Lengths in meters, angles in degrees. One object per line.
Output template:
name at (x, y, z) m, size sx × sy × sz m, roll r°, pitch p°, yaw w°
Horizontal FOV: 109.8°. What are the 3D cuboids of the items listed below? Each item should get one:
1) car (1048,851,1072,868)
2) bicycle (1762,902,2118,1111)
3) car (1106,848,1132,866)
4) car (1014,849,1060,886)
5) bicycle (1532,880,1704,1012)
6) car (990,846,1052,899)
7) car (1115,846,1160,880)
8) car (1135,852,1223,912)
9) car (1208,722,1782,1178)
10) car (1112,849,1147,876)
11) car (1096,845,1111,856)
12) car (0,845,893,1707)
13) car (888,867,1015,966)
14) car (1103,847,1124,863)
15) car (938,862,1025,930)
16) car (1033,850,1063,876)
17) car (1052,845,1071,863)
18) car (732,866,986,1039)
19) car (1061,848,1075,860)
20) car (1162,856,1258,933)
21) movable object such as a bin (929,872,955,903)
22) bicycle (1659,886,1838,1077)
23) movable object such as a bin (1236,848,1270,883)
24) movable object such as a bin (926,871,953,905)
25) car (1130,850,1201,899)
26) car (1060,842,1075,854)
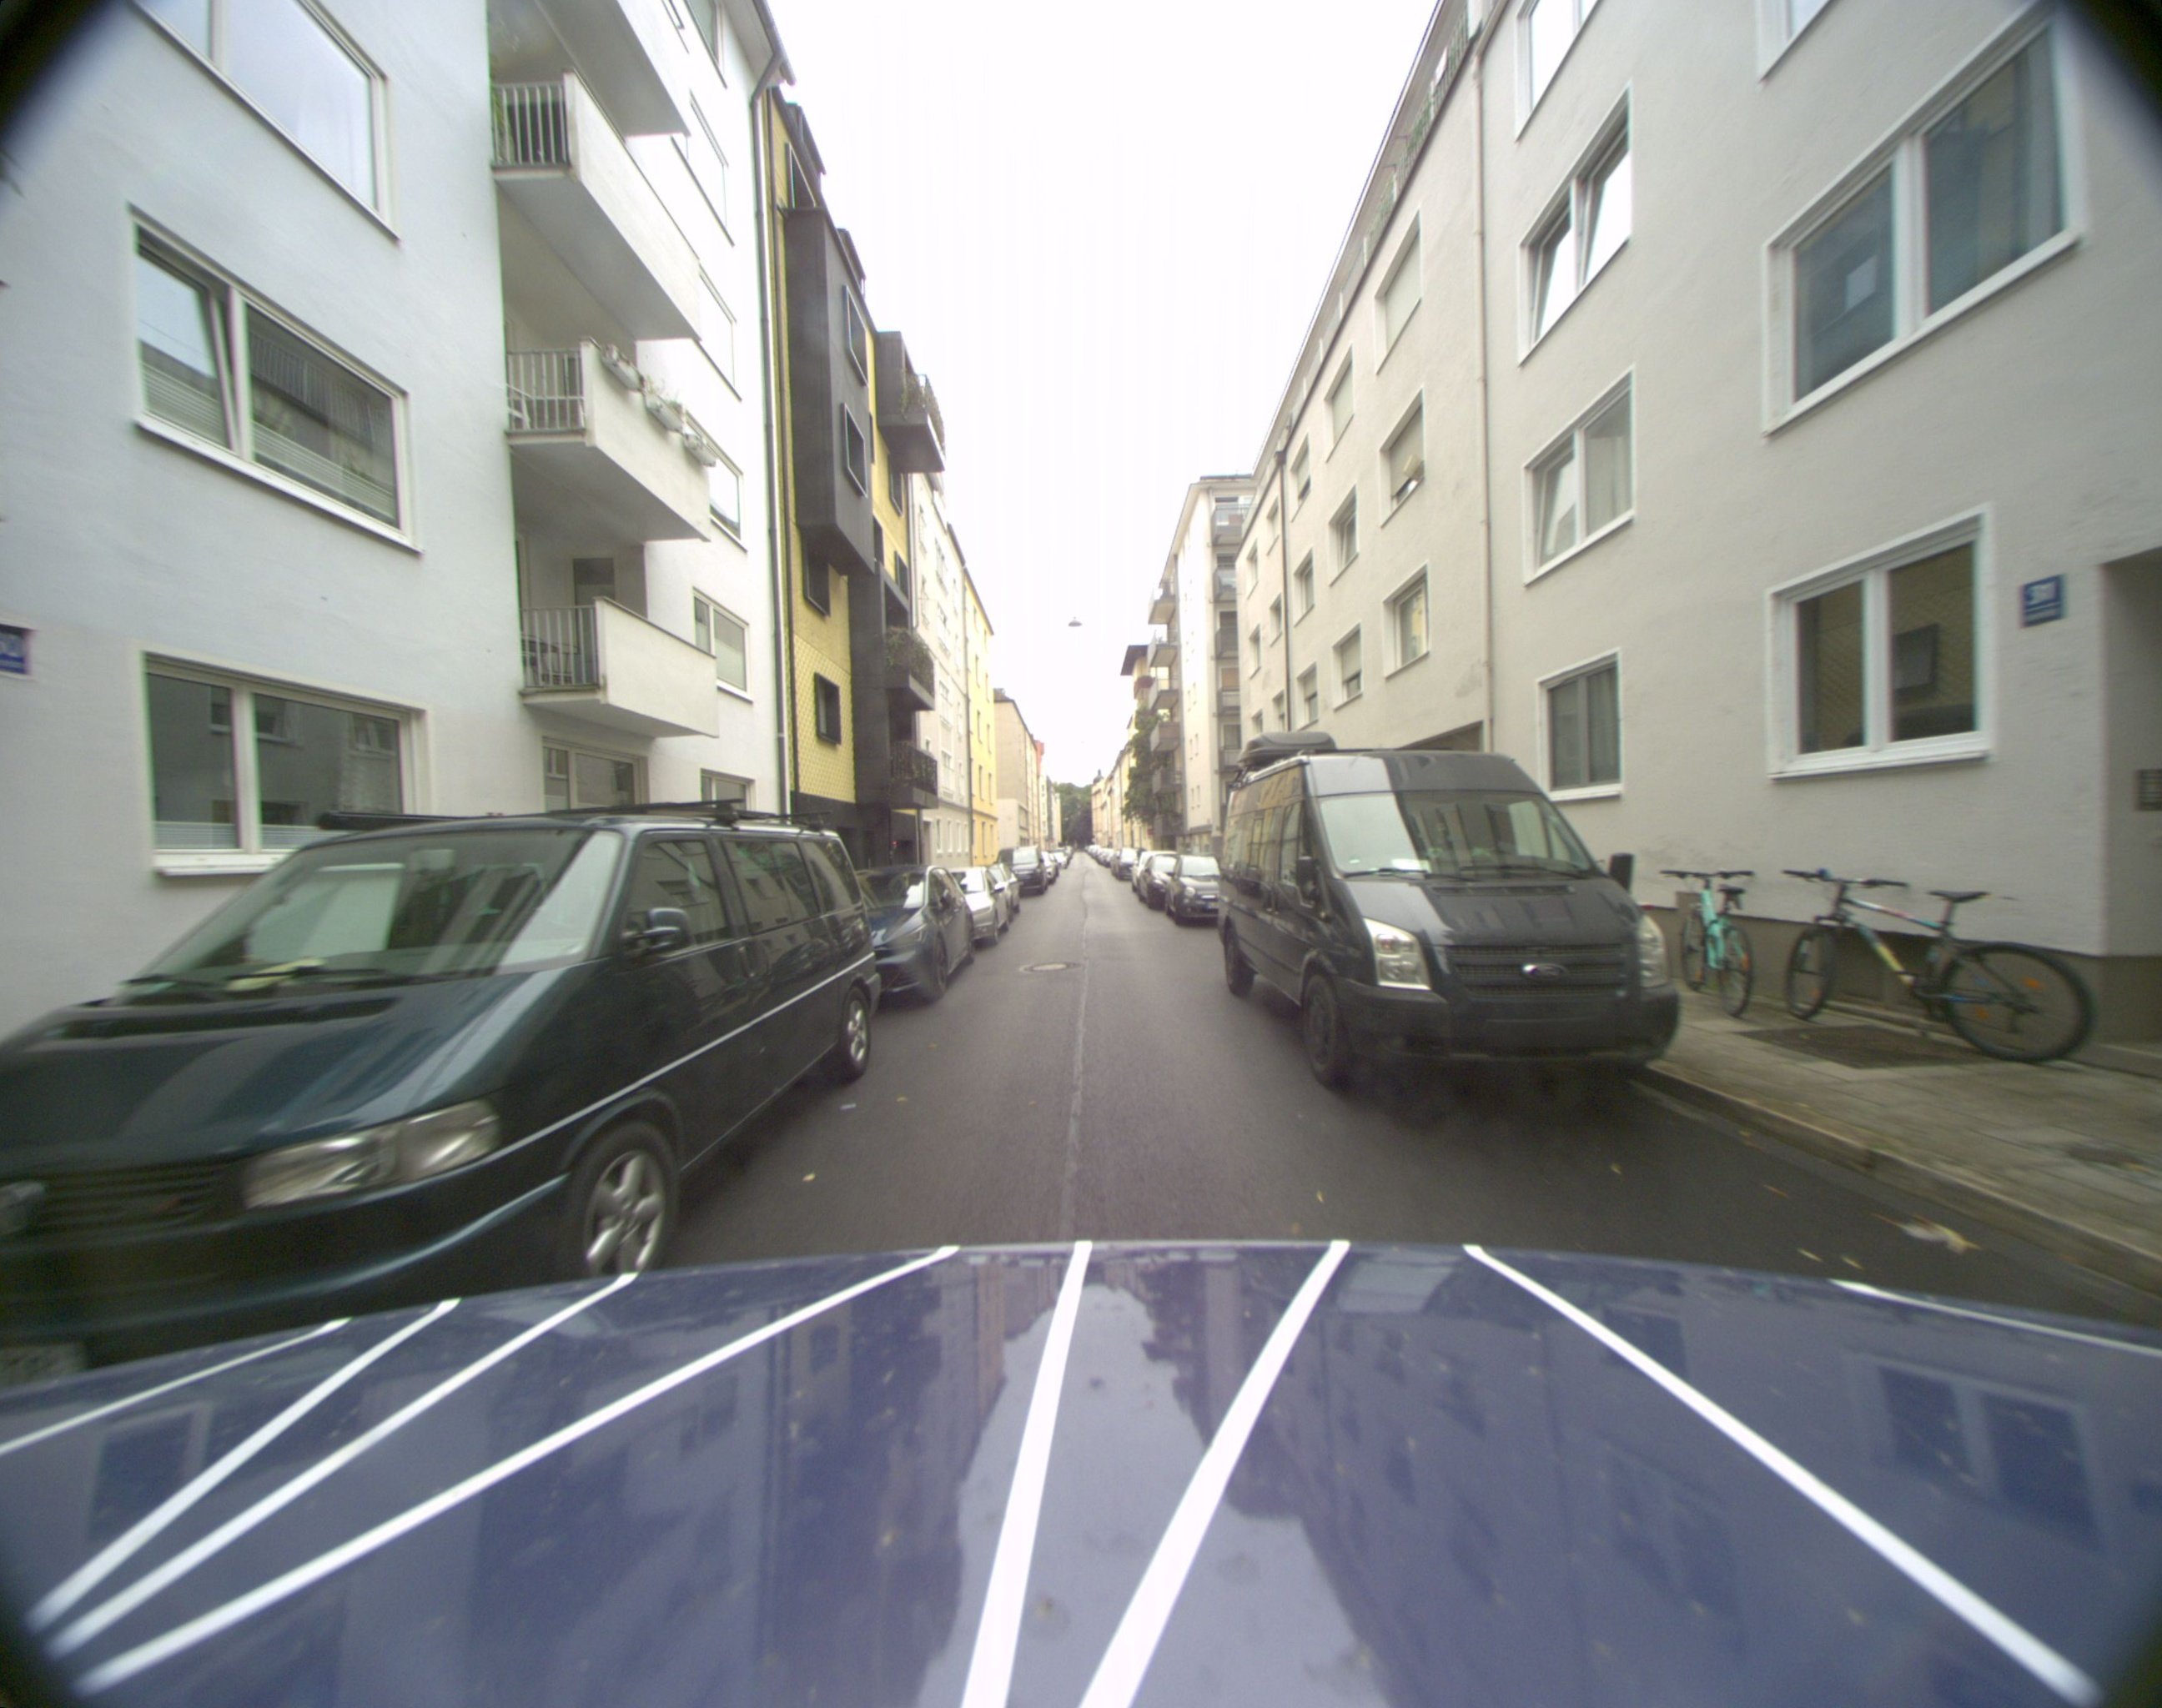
car at (-1.867, 0.435, 67.889) m, size 1.972 × 1.369 × 4.295 m, roll -2°, pitch 1°, yaw 0°
bicycle at (5.275, 0.862, 4.829) m, size 0.490 × 0.978 × 1.591 m, roll -2°, pitch 1°, yaw 2°
car at (3.197, 0.240, 64.940) m, size 1.972 × 1.369 × 4.295 m, roll -2°, pitch 1°, yaw 0°
car at (-2.149, 0.609, 38.410) m, size 1.966 × 1.665 × 4.540 m, roll -2°, pitch 1°, yaw 0°
bicycle at (5.377, 0.861, 7.761) m, size 0.464 × 1.091 × 1.870 m, roll -3°, pitch 1°, yaw 2°
car at (-2.319, 0.657, 30.702) m, size 1.987 × 1.828 × 5.183 m, roll -4°, pitch 1°, yaw 0°
car at (2.881, 0.435, 39.698) m, size 1.972 × 1.598 × 4.539 m, roll -2°, pitch 1°, yaw 0°
car at (2.656, 0.714, 21.514) m, size 1.805 × 1.409 × 4.225 m, roll -2°, pitch 1°, yaw -1°
car at (2.498, 0.448, 6.476) m, size 2.023 × 2.266 × 5.390 m, roll 0°, pitch 1°, yaw 1°
car at (2.856, 0.462, 45.696) m, size 1.818 × 1.434 × 4.295 m, roll -2°, pitch 1°, yaw 0°
car at (3.216, -0.495, 109.823) m, size 1.896 × 1.444 × 4.295 m, roll -2°, pitch 1°, yaw 0°
car at (-2.542, 0.883, 3.898) m, size 1.879 × 1.781 × 4.781 m, roll -2°, pitch 1°, yaw 0°
car at (-2.389, 1.099, 15.079) m, size 1.764 × 1.423 × 4.260 m, roll -5°, pitch 1°, yaw -1°
car at (3.191, 0.091, 75.902) m, size 1.896 × 1.444 × 4.295 m, roll -2°, pitch 1°, yaw 0°
car at (-2.491, 1.018, 19.912) m, size 1.739 × 1.421 × 4.201 m, roll -2°, pitch 1°, yaw -1°
car at (-2.051, 0.561, 48.701) m, size 1.691 × 1.496 × 3.856 m, roll -2°, pitch 1°, yaw 0°
car at (-2.131, 0.018, 83.417) m, size 1.896 × 1.859 × 4.295 m, roll -2°, pitch 1°, yaw 0°
car at (-2.534, 1.034, 9.994) m, size 1.910 × 1.545 × 4.624 m, roll -2°, pitch 1°, yaw 0°
car at (-1.949, -0.003, 114.753) m, size 1.896 × 1.621 × 4.295 m, roll -2°, pitch 1°, yaw 0°
car at (2.763, 0.801, 16.934) m, size 1.615 × 1.438 × 3.742 m, roll 0°, pitch 1°, yaw 2°
movable object such as a bin at (-4.911, 1.190, 26.904) m, size 0.797 × 1.048 × 0.546 m, roll -2°, pitch 1°, yaw -1°
bicycle at (4.959, 0.858, 5.771) m, size 0.463 × 1.091 × 1.873 m, roll -2°, pitch 1°, yaw 24°
movable object such as a bin at (6.961, 0.473, 30.764) m, size 1.114 × 1.346 × 1.104 m, roll -2°, pitch 1°, yaw 1°
movable object such as a bin at (-4.904, 1.171, 26.346) m, size 0.797 × 1.133 × 0.573 m, roll -2°, pitch 1°, yaw -1°
car at (2.854, 0.640, 26.605) m, size 1.917 × 1.429 × 4.808 m, roll -2°, pitch 1°, yaw 0°
car at (-1.850, -0.811, 106.090) m, size 1.896 × 1.621 × 4.295 m, roll -2°, pitch 1°, yaw 0°
